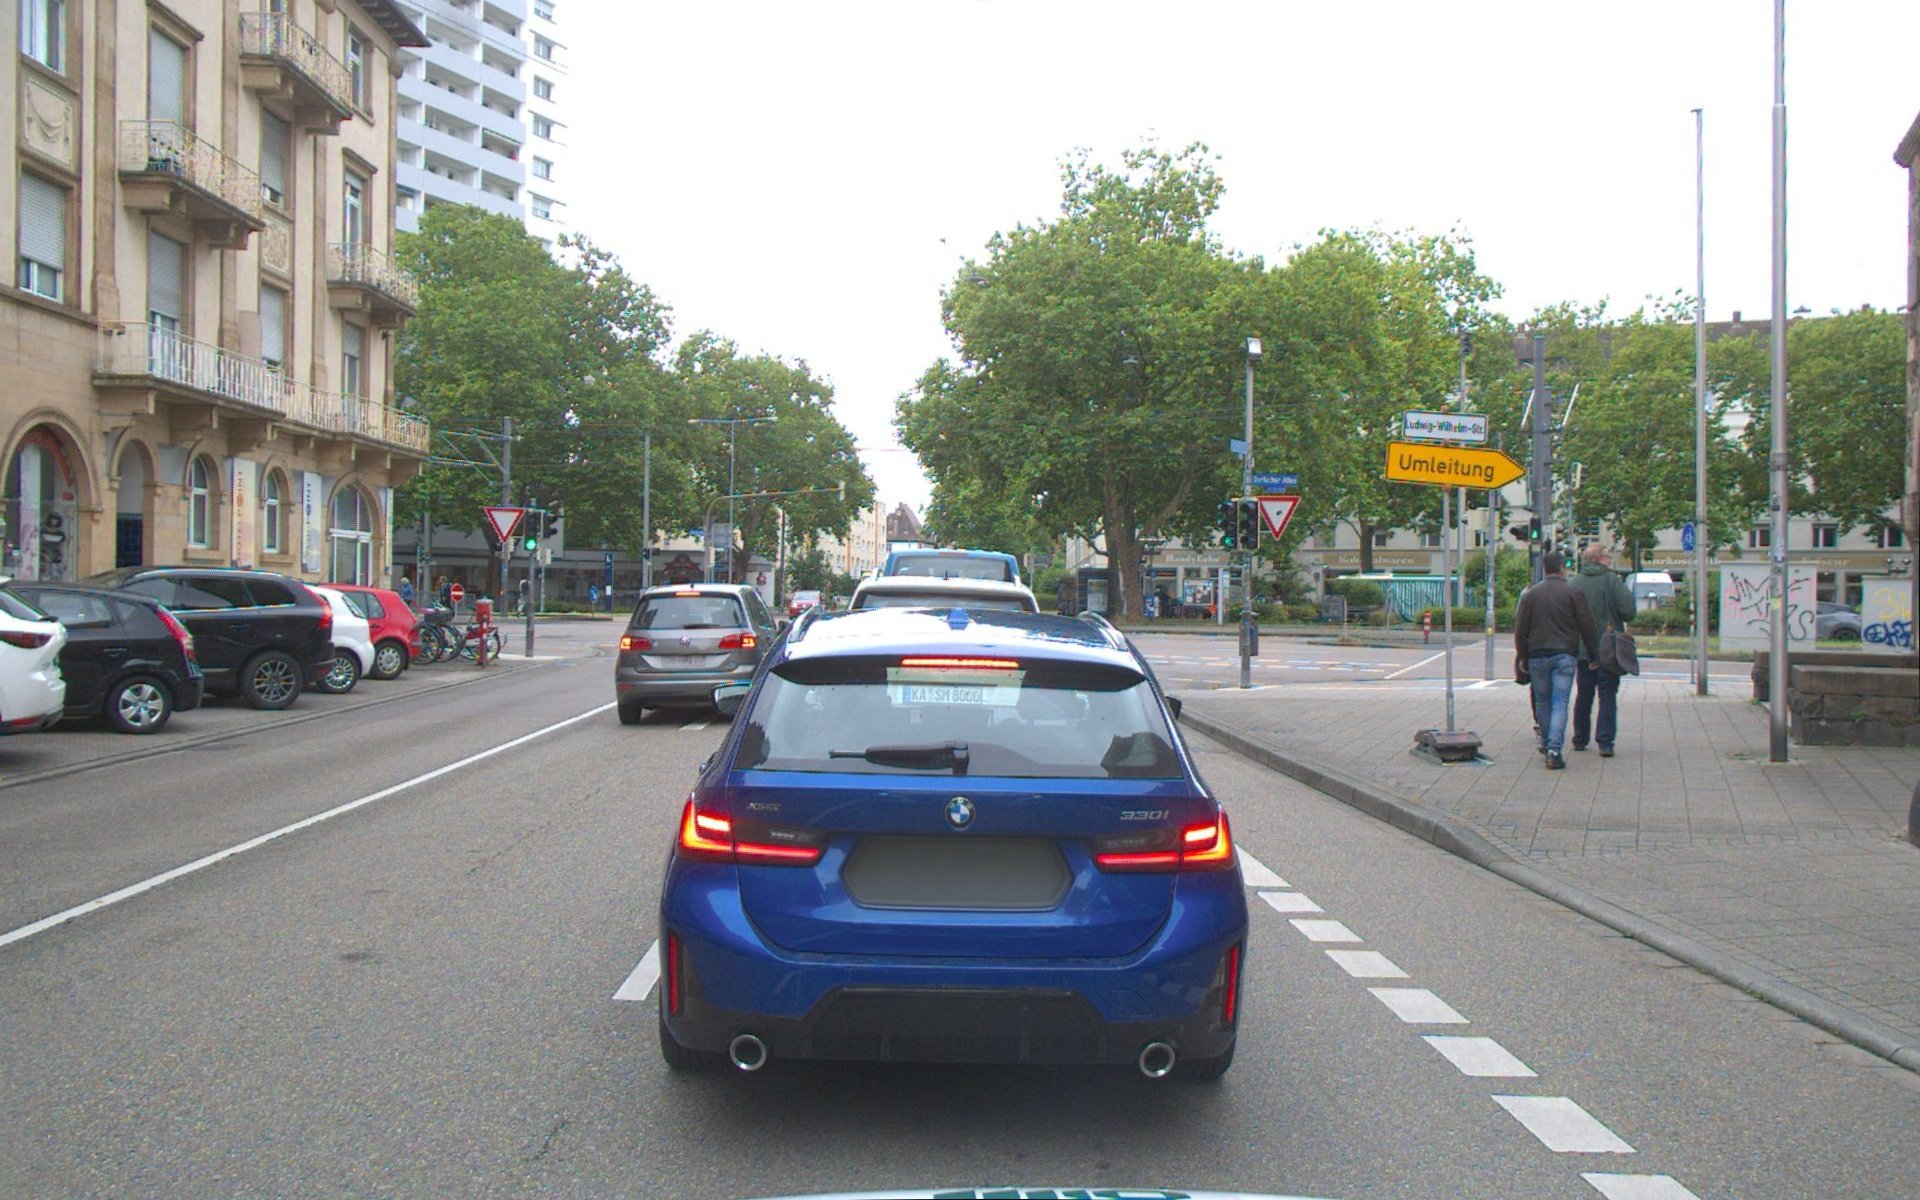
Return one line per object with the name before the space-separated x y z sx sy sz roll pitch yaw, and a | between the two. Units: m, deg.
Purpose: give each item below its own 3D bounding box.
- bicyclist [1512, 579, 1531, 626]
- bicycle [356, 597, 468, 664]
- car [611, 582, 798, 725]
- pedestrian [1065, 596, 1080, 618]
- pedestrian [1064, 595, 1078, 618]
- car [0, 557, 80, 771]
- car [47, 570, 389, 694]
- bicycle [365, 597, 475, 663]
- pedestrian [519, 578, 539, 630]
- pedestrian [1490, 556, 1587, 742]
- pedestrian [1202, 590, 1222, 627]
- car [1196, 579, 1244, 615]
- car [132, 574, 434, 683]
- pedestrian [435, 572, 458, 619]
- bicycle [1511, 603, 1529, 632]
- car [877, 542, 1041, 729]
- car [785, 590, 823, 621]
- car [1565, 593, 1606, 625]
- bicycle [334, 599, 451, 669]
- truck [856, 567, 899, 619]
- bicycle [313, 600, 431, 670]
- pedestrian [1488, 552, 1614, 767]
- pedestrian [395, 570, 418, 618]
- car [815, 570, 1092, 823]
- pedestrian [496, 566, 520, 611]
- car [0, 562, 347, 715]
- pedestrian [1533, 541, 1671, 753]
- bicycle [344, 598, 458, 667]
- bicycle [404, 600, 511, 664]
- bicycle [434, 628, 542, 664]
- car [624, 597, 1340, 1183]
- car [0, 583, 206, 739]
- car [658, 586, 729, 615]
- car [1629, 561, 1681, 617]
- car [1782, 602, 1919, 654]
bicyclist | 20.267 0.088 59.712 0.601 1.683 0.754 0 0 20
bicycle | -10.272 0.564 31.006 1.849 1.053 0.442 6 0 -3
car | -2.991 0.568 20.084 1.697 1.551 3.999 0 0 -1
pedestrian | 7.014 0.447 103.167 0.835 1.337 0.762 0 0 -1
pedestrian | 6.991 0.411 104.116 0.801 1.396 0.762 0 0 -1
car | -9.593 0.488 13.699 3.937 1.754 1.826 1 0 -26
car | -10.101 0.469 22.698 3.968 1.498 1.540 3 0 -44
bicycle | -10.318 0.578 31.641 1.849 1.053 0.442 6 0 -3
pedestrian | -17.385 0.157 66.762 0.613 2.049 0.617 1 -1 -2
pedestrian | 5.478 0.448 15.705 0.619 1.702 0.970 -2 0 6
pedestrian | 11.944 0.403 78.284 0.768 1.774 0.925 0 0 -2
car | 16.960 -0.193 107.658 2.130 2.239 3.999 0 0 23
car | -10.356 0.438 25.514 1.653 1.498 3.978 3 1 40
pedestrian | -19.754 -0.187 63.630 0.661 1.802 0.726 0 0 -1
bicycle | 20.239 0.637 59.750 0.540 1.013 2.061 0 0 21
car | -0.042 0.374 20.067 1.778 2.040 3.999 0 0 -1
car | -7.830 0.262 83.149 1.615 1.472 3.510 0 0 -1
car | 30.888 0.418 81.613 1.632 1.542 3.935 1 0 25
bicycle | -10.222 0.610 29.809 1.849 1.053 0.442 6 0 -3
truck | -4.037 -0.375 80.956 2.033 2.450 5.460 0 1 -3
bicycle | -10.298 0.612 28.992 1.848 1.053 0.442 5 0 2
pedestrian | 4.929 0.477 13.844 0.660 1.715 0.969 -2 0 -1
pedestrian | -21.021 -0.239 62.826 0.661 1.802 0.726 0 0 -1
car | -0.072 0.609 12.665 1.778 1.620 3.999 0 0 -1
pedestrian | -18.382 -0.472 67.261 0.664 1.802 0.722 0 0 41
car | -9.825 0.433 20.025 4.192 1.680 1.704 1 0 -44
pedestrian | 5.671 0.397 14.662 0.788 1.789 0.969 -2 0 -1
bicycle | -10.244 0.589 30.345 1.849 1.053 0.442 6 0 -3
bicycle | -9.774 0.618 32.197 1.849 1.053 0.442 6 0 -3
bicycle | -9.472 0.918 33.242 1.849 0.453 1.028 6 2 -3
car | 0.028 0.719 6.281 1.778 1.430 4.319 0 0 -1
car | -9.958 0.586 16.730 3.959 1.521 1.708 1 0 -39
car | -16.823 0.019 104.314 3.953 1.736 1.976 1 0 -35
car | 34.862 -0.537 82.853 2.191 2.685 5.443 1 0 25
car | 28.579 0.886 52.966 3.895 1.589 1.687 0 0 22
